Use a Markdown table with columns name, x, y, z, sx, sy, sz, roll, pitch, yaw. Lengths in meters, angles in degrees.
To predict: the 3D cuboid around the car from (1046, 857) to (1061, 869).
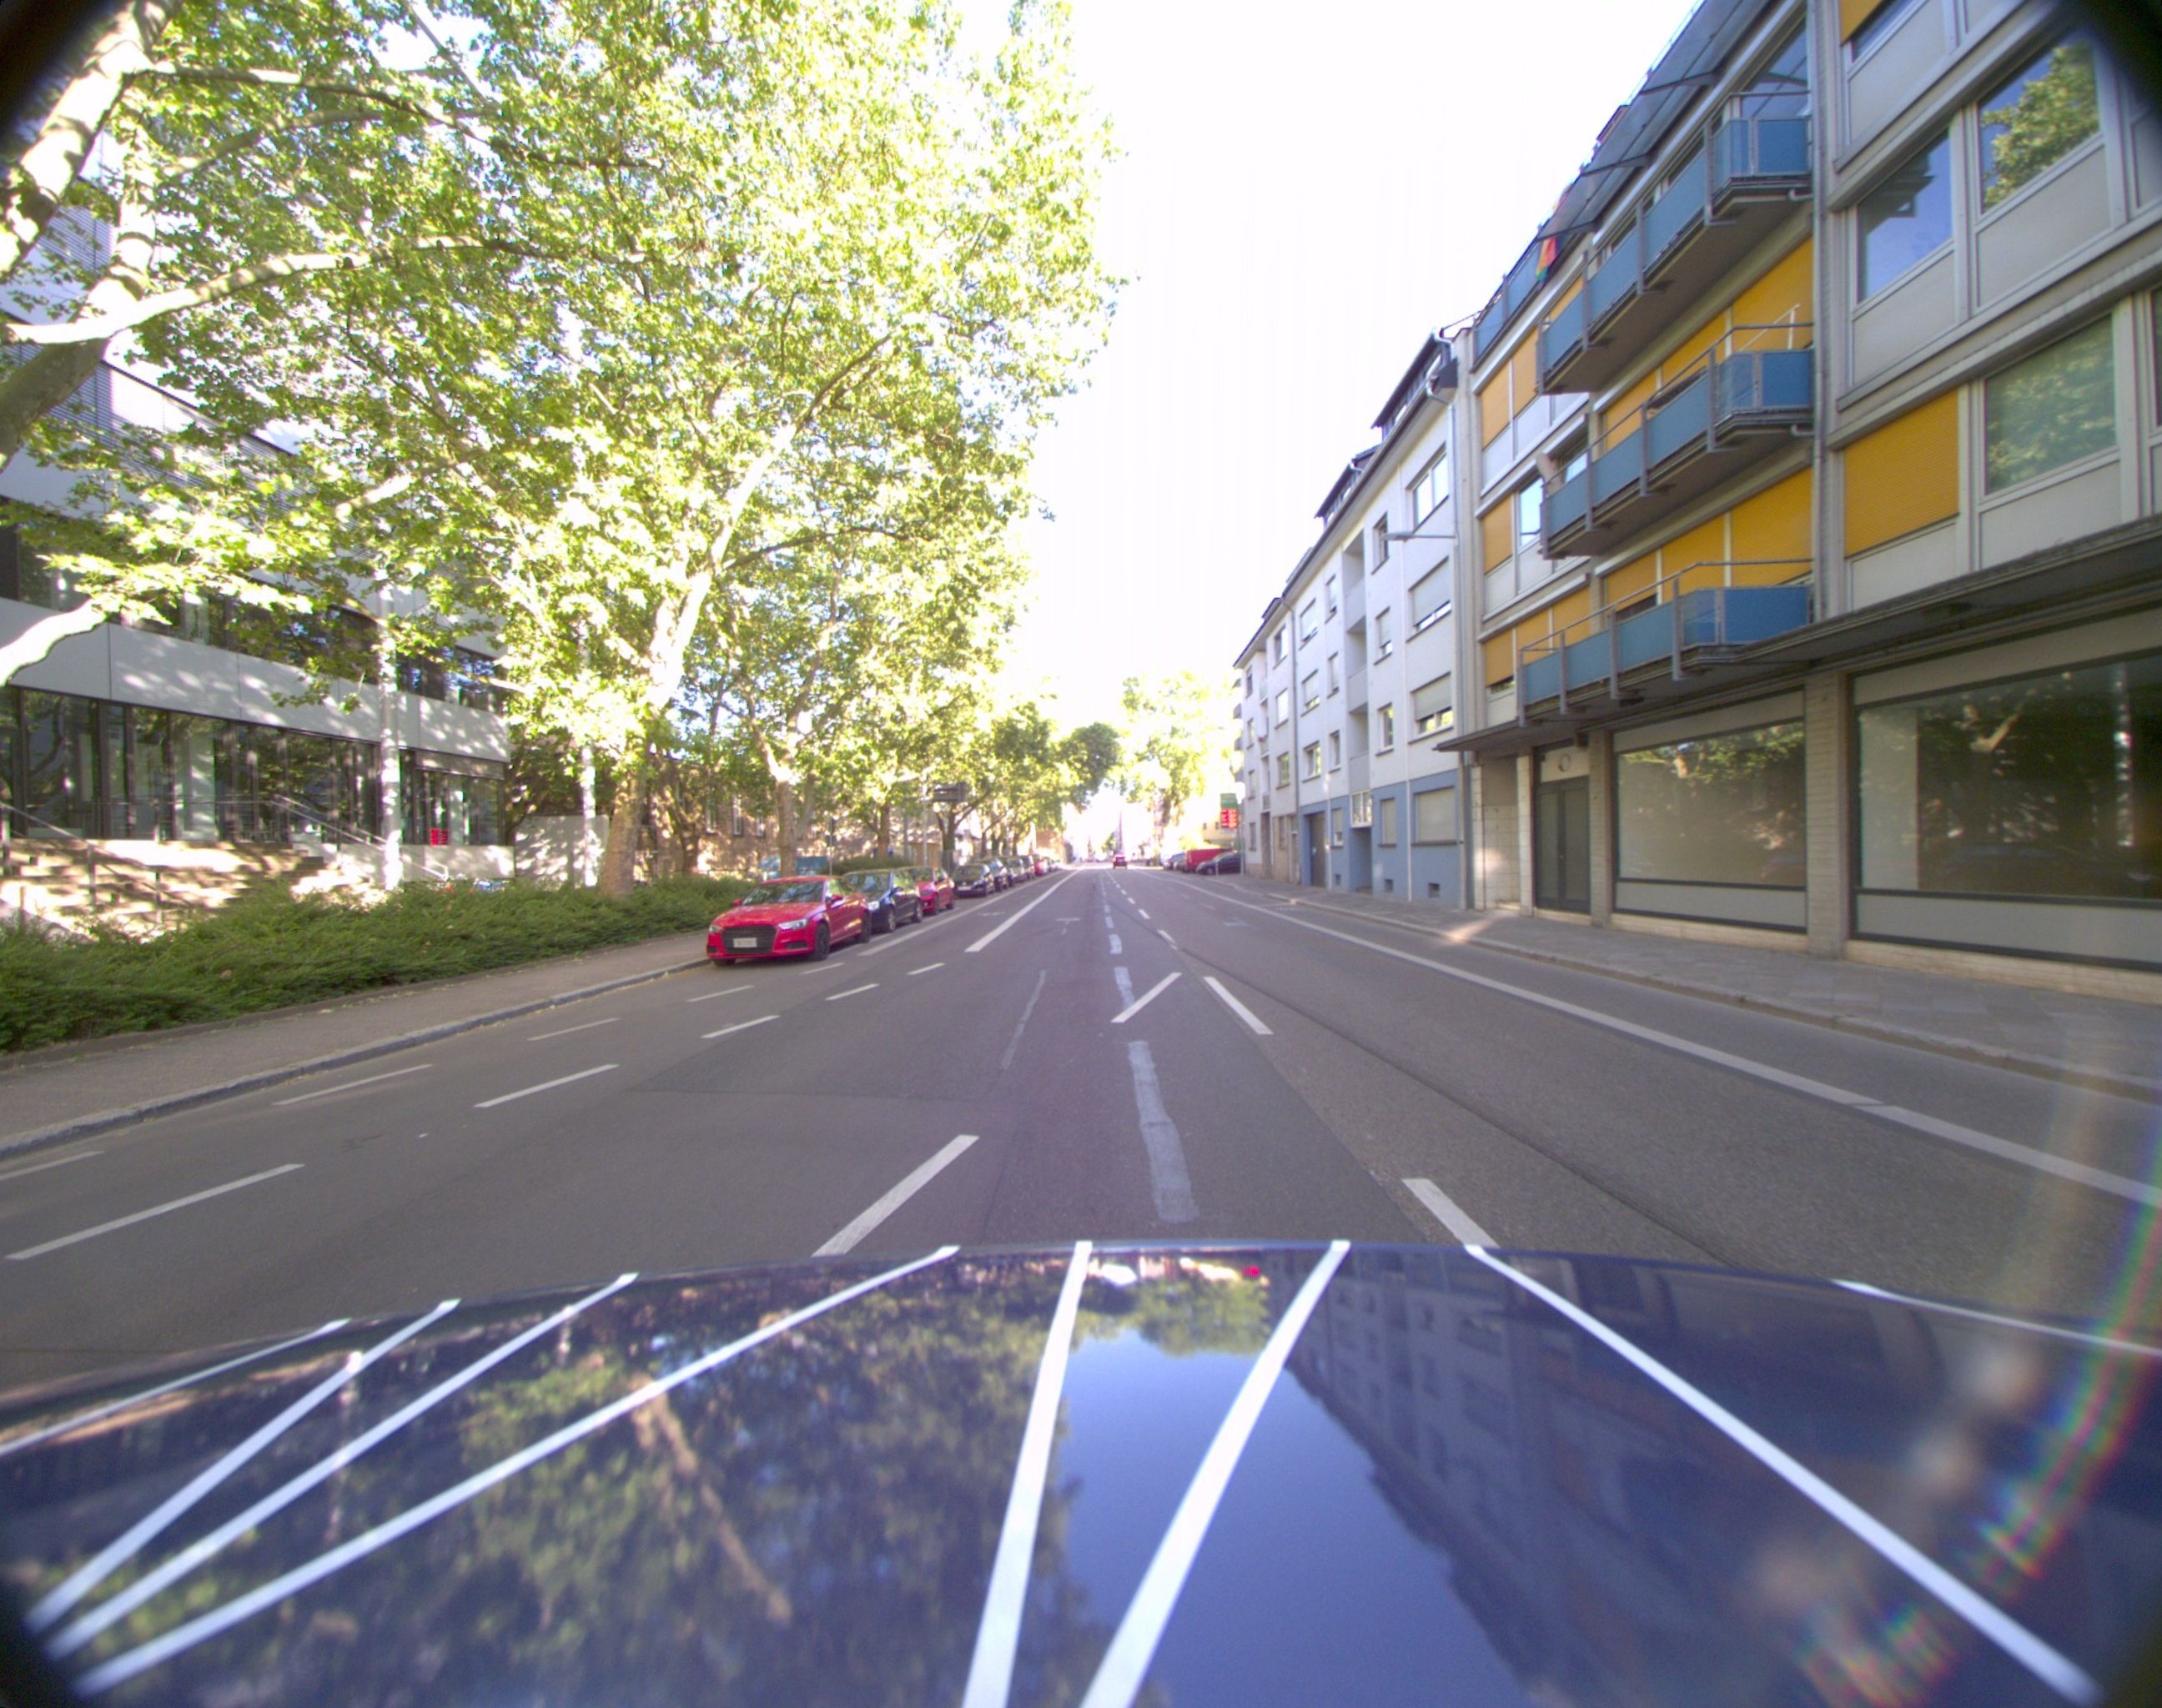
| name | x | y | z | sx | sy | sz | roll | pitch | yaw |
| --- | --- | --- | --- | --- | --- | --- | --- | --- | --- |
| car | -3.336 | 1.070 | 92.736 | 1.693 | 1.364 | 3.999 | -2 | 1 | 1 |

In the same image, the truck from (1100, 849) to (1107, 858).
| name | x | y | z | sx | sy | sz | roll | pitch | yaw |
| --- | --- | --- | --- | --- | --- | --- | --- | --- | --- |
| truck | 6.895 | -0.301 | 233.821 | 1.998 | 2.653 | 5.314 | -2 | 1 | 0 |

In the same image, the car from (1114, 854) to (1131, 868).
| name | x | y | z | sx | sy | sz | roll | pitch | yaw |
| --- | --- | --- | --- | --- | --- | --- | --- | --- | --- |
| car | 5.100 | 0.840 | 93.420 | 1.847 | 1.668 | 3.999 | 0 | 1 | 1 |

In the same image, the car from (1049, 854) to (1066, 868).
| name | x | y | z | sx | sy | sz | roll | pitch | yaw |
| --- | --- | --- | --- | --- | --- | --- | --- | --- | --- |
| car | -3.174 | 0.906 | 103.006 | 1.998 | 1.682 | 3.999 | -2 | 1 | 1 |

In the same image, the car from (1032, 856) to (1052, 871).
| name | x | y | z | sx | sy | sz | roll | pitch | yaw |
| --- | --- | --- | --- | --- | --- | --- | --- | --- | --- |
| car | -4.127 | 0.988 | 80.747 | 1.824 | 1.466 | 3.999 | -2 | 1 | 1 |

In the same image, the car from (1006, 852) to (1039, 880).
| name | x | y | z | sx | sy | sz | roll | pitch | yaw |
| --- | --- | --- | --- | --- | --- | --- | --- | --- | --- |
| car | -4.242 | 0.844 | 55.623 | 1.998 | 1.838 | 3.999 | -2 | 1 | 1 |

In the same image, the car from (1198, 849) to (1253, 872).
| name | x | y | z | sx | sy | sz | roll | pitch | yaw |
| --- | --- | --- | --- | --- | --- | --- | --- | --- | --- |
| car | 10.810 | 0.445 | 57.112 | 3.810 | 1.563 | 1.658 | -2 | 1 | 0 |

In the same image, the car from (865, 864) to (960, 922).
| name | x | y | z | sx | sy | sz | roll | pitch | yaw |
| --- | --- | --- | --- | --- | --- | --- | --- | --- | --- |
| car | -5.121 | 1.149 | 23.668 | 1.998 | 1.490 | 3.828 | -2 | 1 | 1 |

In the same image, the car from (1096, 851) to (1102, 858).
| name | x | y | z | sx | sy | sz | roll | pitch | yaw |
| --- | --- | --- | --- | --- | --- | --- | --- | --- | --- |
| car | 6.185 | 0.186 | 259.452 | 1.998 | 2.002 | 3.999 | -2 | 1 | 1 |

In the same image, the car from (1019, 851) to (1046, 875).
| name | x | y | z | sx | sy | sz | roll | pitch | yaw |
| --- | --- | --- | --- | --- | --- | --- | --- | --- | --- |
| car | -4.214 | 0.747 | 66.345 | 1.998 | 1.960 | 3.999 | -2 | 1 | 1 |

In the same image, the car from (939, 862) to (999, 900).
| name | x | y | z | sx | sy | sz | roll | pitch | yaw |
| --- | --- | --- | --- | --- | --- | --- | --- | --- | --- |
| car | -4.830 | 1.131 | 33.177 | 1.998 | 1.447 | 3.589 | -2 | 1 | 1 |

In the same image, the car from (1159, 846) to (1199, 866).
| name | x | y | z | sx | sy | sz | roll | pitch | yaw |
| --- | --- | --- | --- | --- | --- | --- | --- | --- | --- |
| car | 10.960 | 0.211 | 85.311 | 4.236 | 2.025 | 2.000 | -2 | 1 | 3 |

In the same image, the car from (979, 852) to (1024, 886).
| name | x | y | z | sx | sy | sz | roll | pitch | yaw |
| --- | --- | --- | --- | --- | --- | --- | --- | --- | --- |
| car | -4.599 | 0.839 | 44.515 | 1.998 | 1.777 | 4.572 | -2 | 1 | 1 |

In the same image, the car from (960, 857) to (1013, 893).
| name | x | y | z | sx | sy | sz | roll | pitch | yaw |
| --- | --- | --- | --- | --- | --- | --- | --- | --- | --- |
| car | -4.676 | 1.006 | 38.119 | 1.998 | 1.592 | 4.142 | -2 | 1 | 1 |

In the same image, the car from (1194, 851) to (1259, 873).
| name | x | y | z | sx | sy | sz | roll | pitch | yaw |
| --- | --- | --- | --- | --- | --- | --- | --- | --- | --- |
| car | 10.464 | 0.566 | 54.780 | 4.324 | 1.398 | 1.658 | -2 | 1 | 0 |

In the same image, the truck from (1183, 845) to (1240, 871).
| name | x | y | z | sx | sy | sz | roll | pitch | yaw |
| --- | --- | --- | --- | --- | --- | --- | --- | --- | --- |
| truck | 10.296 | 0.314 | 60.213 | 4.092 | 1.913 | 2.000 | -2 | 1 | 0 |

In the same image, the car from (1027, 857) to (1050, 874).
| name | x | y | z | sx | sy | sz | roll | pitch | yaw |
| --- | --- | --- | --- | --- | --- | --- | --- | --- | --- |
| car | -4.027 | 1.082 | 71.995 | 1.824 | 1.466 | 3.999 | -2 | 1 | 1 |

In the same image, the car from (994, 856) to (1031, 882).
| name | x | y | z | sx | sy | sz | roll | pitch | yaw |
| --- | --- | --- | --- | --- | --- | --- | --- | --- | --- |
| car | -4.549 | 0.955 | 50.880 | 1.998 | 1.557 | 4.142 | -2 | 1 | 1 |

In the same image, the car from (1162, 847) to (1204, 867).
| name | x | y | z | sx | sy | sz | roll | pitch | yaw |
| --- | --- | --- | --- | --- | --- | --- | --- | --- | --- |
| car | 10.873 | 0.278 | 80.910 | 4.236 | 1.945 | 2.000 | -2 | 1 | 3 |

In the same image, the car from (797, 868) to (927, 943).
| name | x | y | z | sx | sy | sz | roll | pitch | yaw |
| --- | --- | --- | --- | --- | --- | --- | --- | --- | --- |
| car | -5.164 | 1.168 | 18.443 | 1.998 | 1.452 | 3.644 | -2 | 1 | 1 |

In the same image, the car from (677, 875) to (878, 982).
| name | x | y | z | sx | sy | sz | roll | pitch | yaw |
| --- | --- | --- | --- | --- | --- | --- | --- | --- | --- |
| car | -5.181 | 1.197 | 13.636 | 1.907 | 1.417 | 3.999 | -2 | 1 | 1 |
